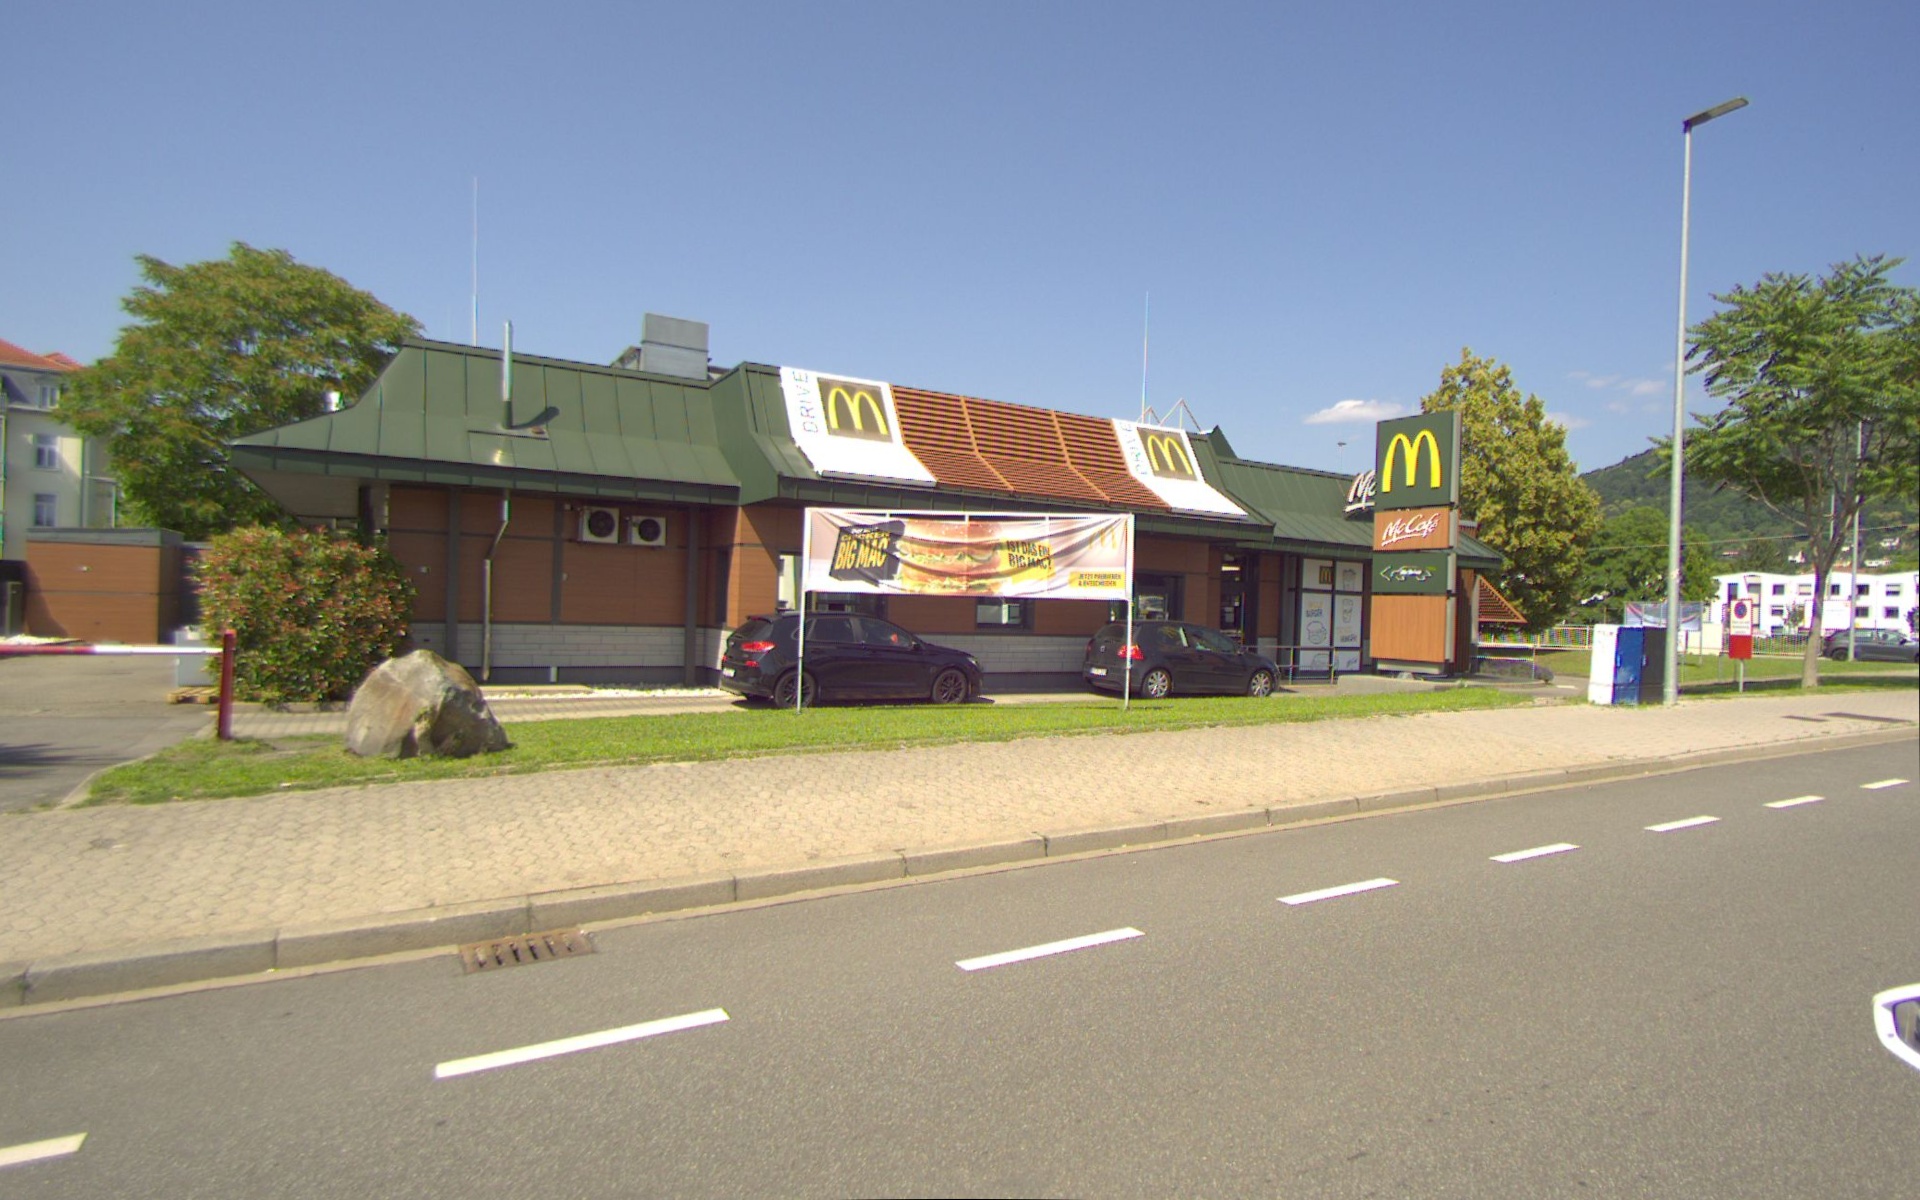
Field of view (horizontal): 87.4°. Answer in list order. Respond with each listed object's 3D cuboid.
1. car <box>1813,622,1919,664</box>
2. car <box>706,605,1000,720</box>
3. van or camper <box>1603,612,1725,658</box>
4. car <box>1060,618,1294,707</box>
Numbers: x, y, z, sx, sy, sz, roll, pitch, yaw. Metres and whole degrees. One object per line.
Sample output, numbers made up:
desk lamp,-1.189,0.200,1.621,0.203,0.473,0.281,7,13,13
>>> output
car,38.223,1.763,41.668,4.268,1.613,1.989,1,0,43
car,-1.644,0.909,15.933,4.273,1.496,1.817,1,3,-33
van or camper,29.834,1.442,42.613,3.942,1.595,1.989,4,3,42
car,4.184,1.140,19.318,4.078,1.435,1.985,1,2,-29
